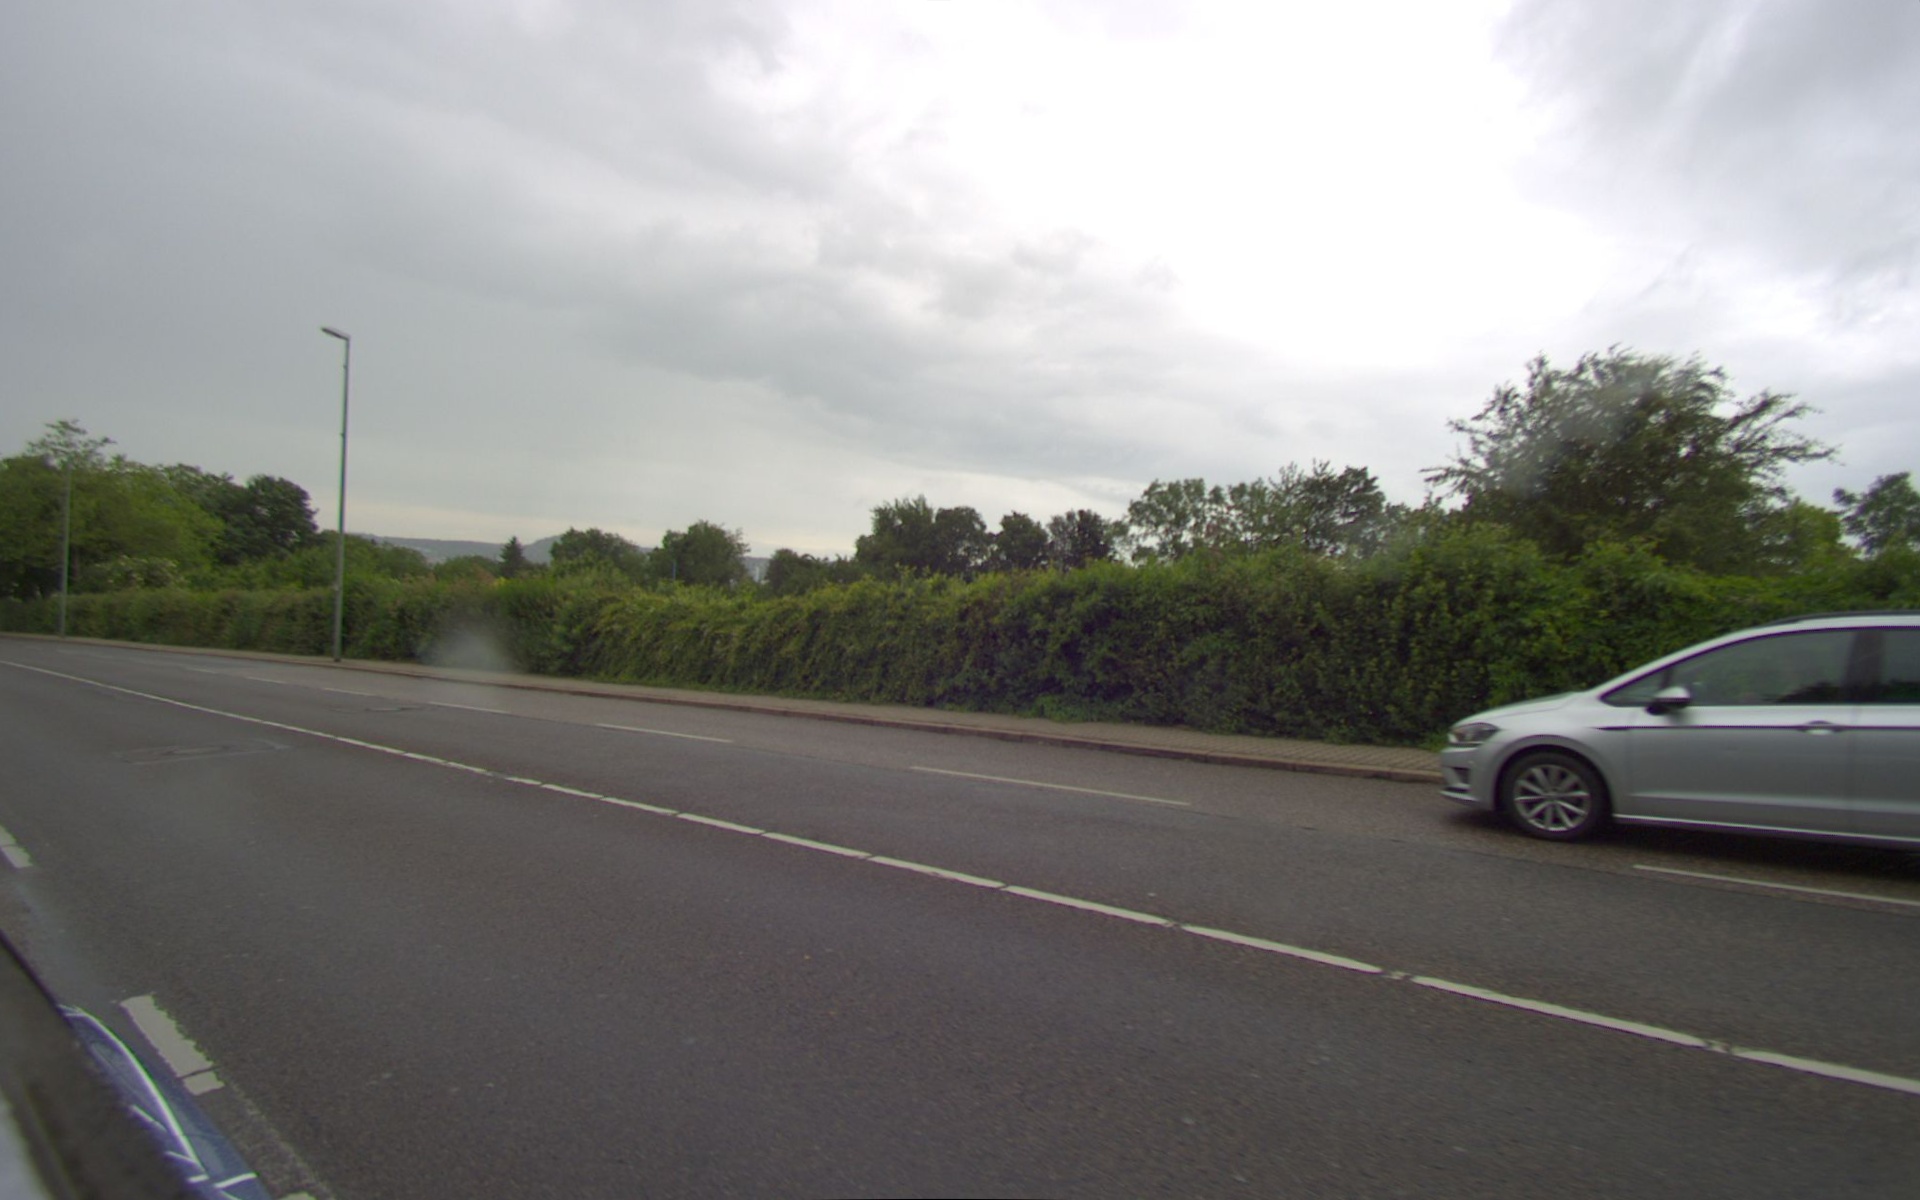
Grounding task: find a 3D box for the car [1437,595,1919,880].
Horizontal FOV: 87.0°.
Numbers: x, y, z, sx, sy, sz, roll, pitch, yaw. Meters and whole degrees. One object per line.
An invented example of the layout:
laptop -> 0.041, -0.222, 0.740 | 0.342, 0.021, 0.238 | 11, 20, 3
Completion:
car -> 5.501, 0.808, 6.641 | 3.996, 1.580, 1.738 | -1, -3, 40
